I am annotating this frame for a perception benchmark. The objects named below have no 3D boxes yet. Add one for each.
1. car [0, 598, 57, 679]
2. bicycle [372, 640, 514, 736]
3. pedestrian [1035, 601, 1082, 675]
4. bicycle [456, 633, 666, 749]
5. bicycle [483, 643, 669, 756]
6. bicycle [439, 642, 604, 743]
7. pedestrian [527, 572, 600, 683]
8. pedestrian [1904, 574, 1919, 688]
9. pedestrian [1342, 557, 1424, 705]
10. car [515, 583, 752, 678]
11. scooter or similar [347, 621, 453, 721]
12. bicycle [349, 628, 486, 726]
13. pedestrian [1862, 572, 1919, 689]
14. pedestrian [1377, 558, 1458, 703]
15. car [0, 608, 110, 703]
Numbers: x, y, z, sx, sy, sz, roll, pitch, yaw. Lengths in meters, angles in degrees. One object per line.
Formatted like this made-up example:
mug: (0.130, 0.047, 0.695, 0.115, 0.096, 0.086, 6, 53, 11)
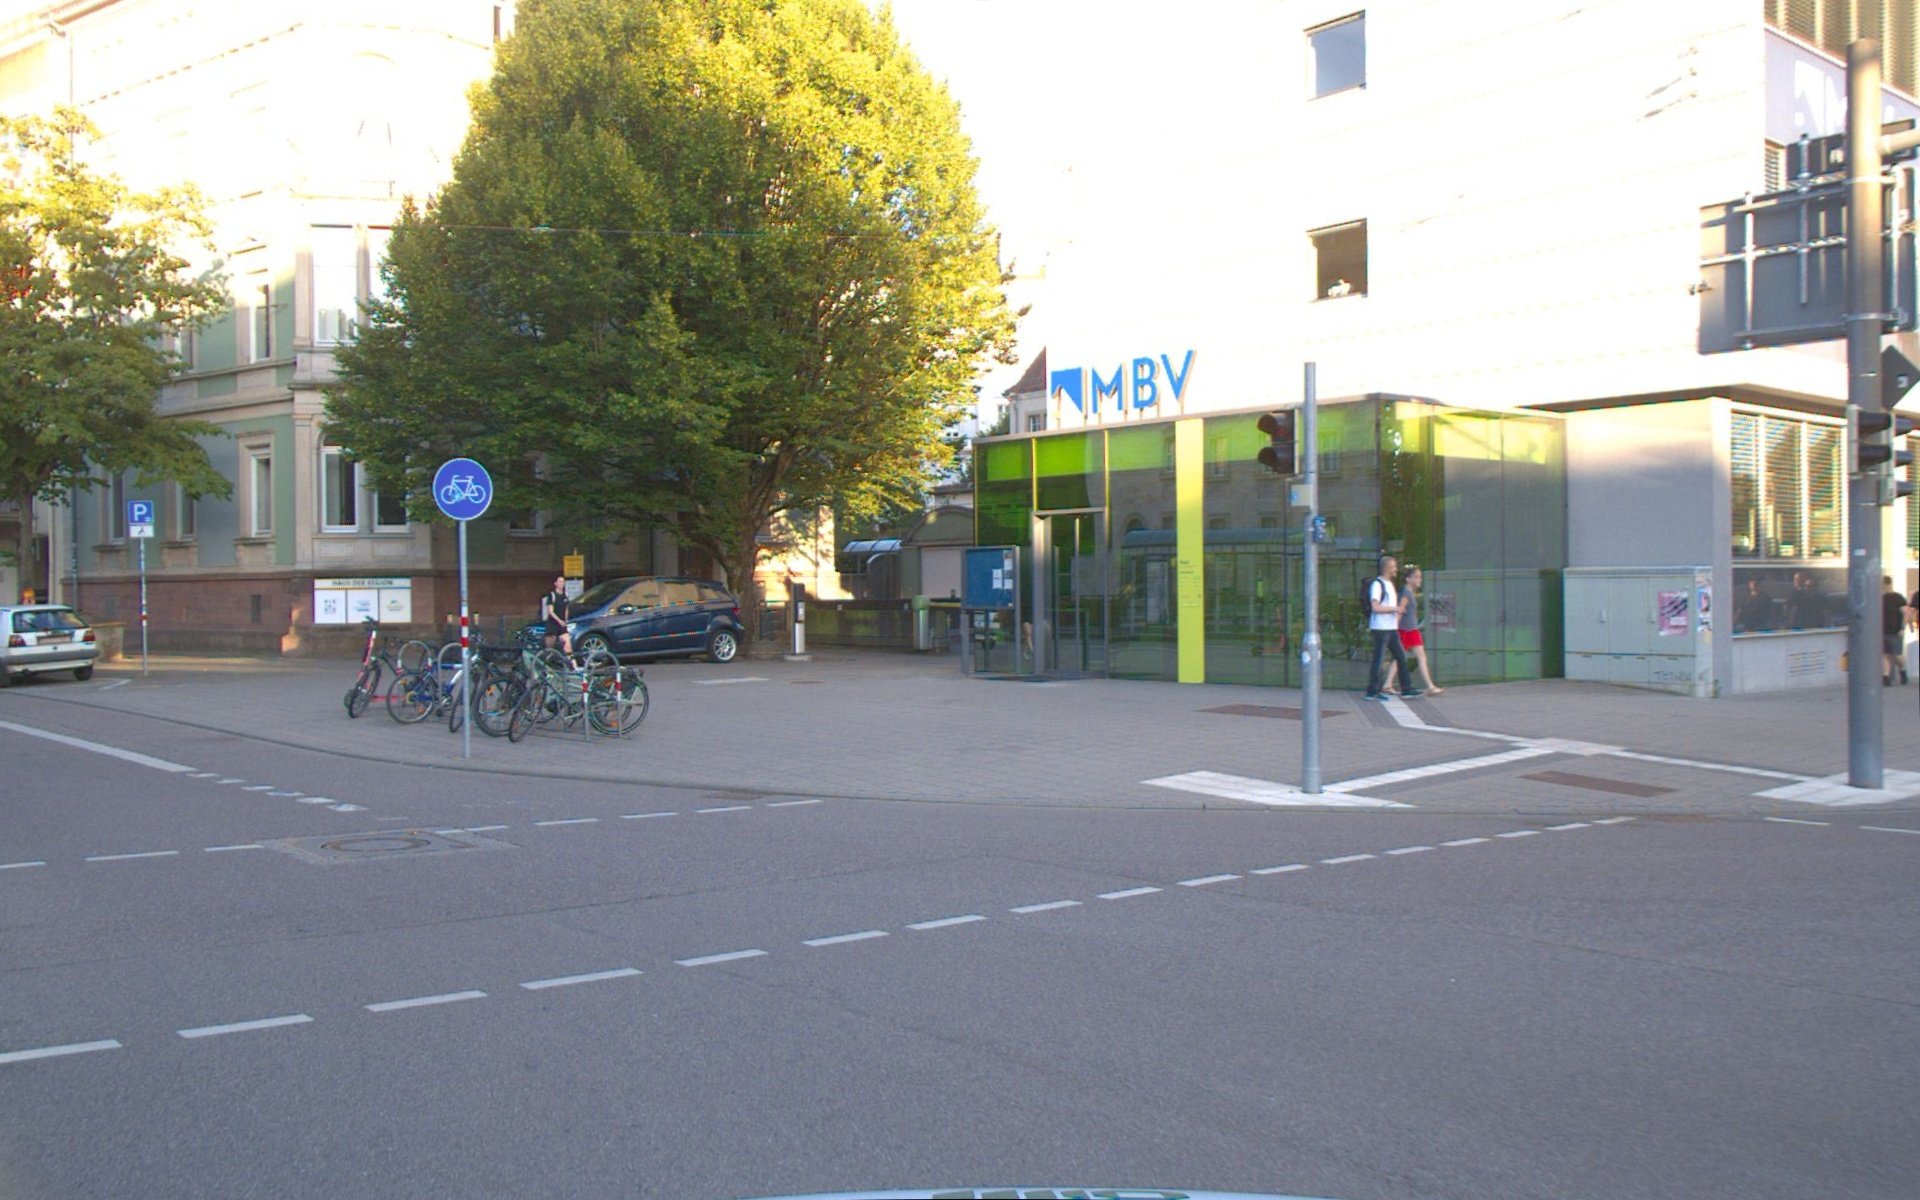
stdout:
car: (-21.953, 0.845, 36.300, 1.680, 1.755, 4.212, 1, 0, 5)
bicycle: (-6.424, 1.072, 20.577, 1.541, 1.093, 0.733, 0, 0, -40)
pedestrian: (1.670, 0.642, 28.062, 0.538, 1.230, 0.606, 0, 0, -40)
bicycle: (-4.503, 1.000, 18.767, 2.216, 1.152, 0.733, -2, 1, -40)
bicycle: (-4.121, 1.043, 17.750, 1.835, 1.093, 0.739, -1, 0, -24)
bicycle: (-5.142, 1.062, 19.463, 1.744, 1.093, 0.733, 0, 0, -40)
pedestrian: (-6.566, 0.447, 27.389, 0.969, 1.799, 0.706, 0, 0, 34)
pedestrian: (15.360, 0.482, 26.103, 0.641, 1.799, 0.644, 0, 0, -45)
pedestrian: (5.273, 0.375, 20.613, 0.702, 1.799, 0.724, 0, 0, -41)
car: (-5.973, 0.505, 30.460, 3.962, 1.601, 1.776, -1, 1, -42)
scooter or similar: (-7.557, 0.938, 22.337, 1.193, 1.246, 0.582, -3, 2, -41)
bicycle: (-6.981, 0.972, 21.307, 1.516, 1.183, 0.733, 0, 0, -40)
pedestrian: (14.572, 0.467, 25.880, 0.641, 1.799, 0.644, 0, 0, -45)
pedestrian: (5.825, 0.373, 21.071, 0.702, 1.799, 0.736, 0, 0, -41)
car: (-17.743, 0.986, 31.041, 3.923, 1.579, 1.678, 0, 3, 38)
